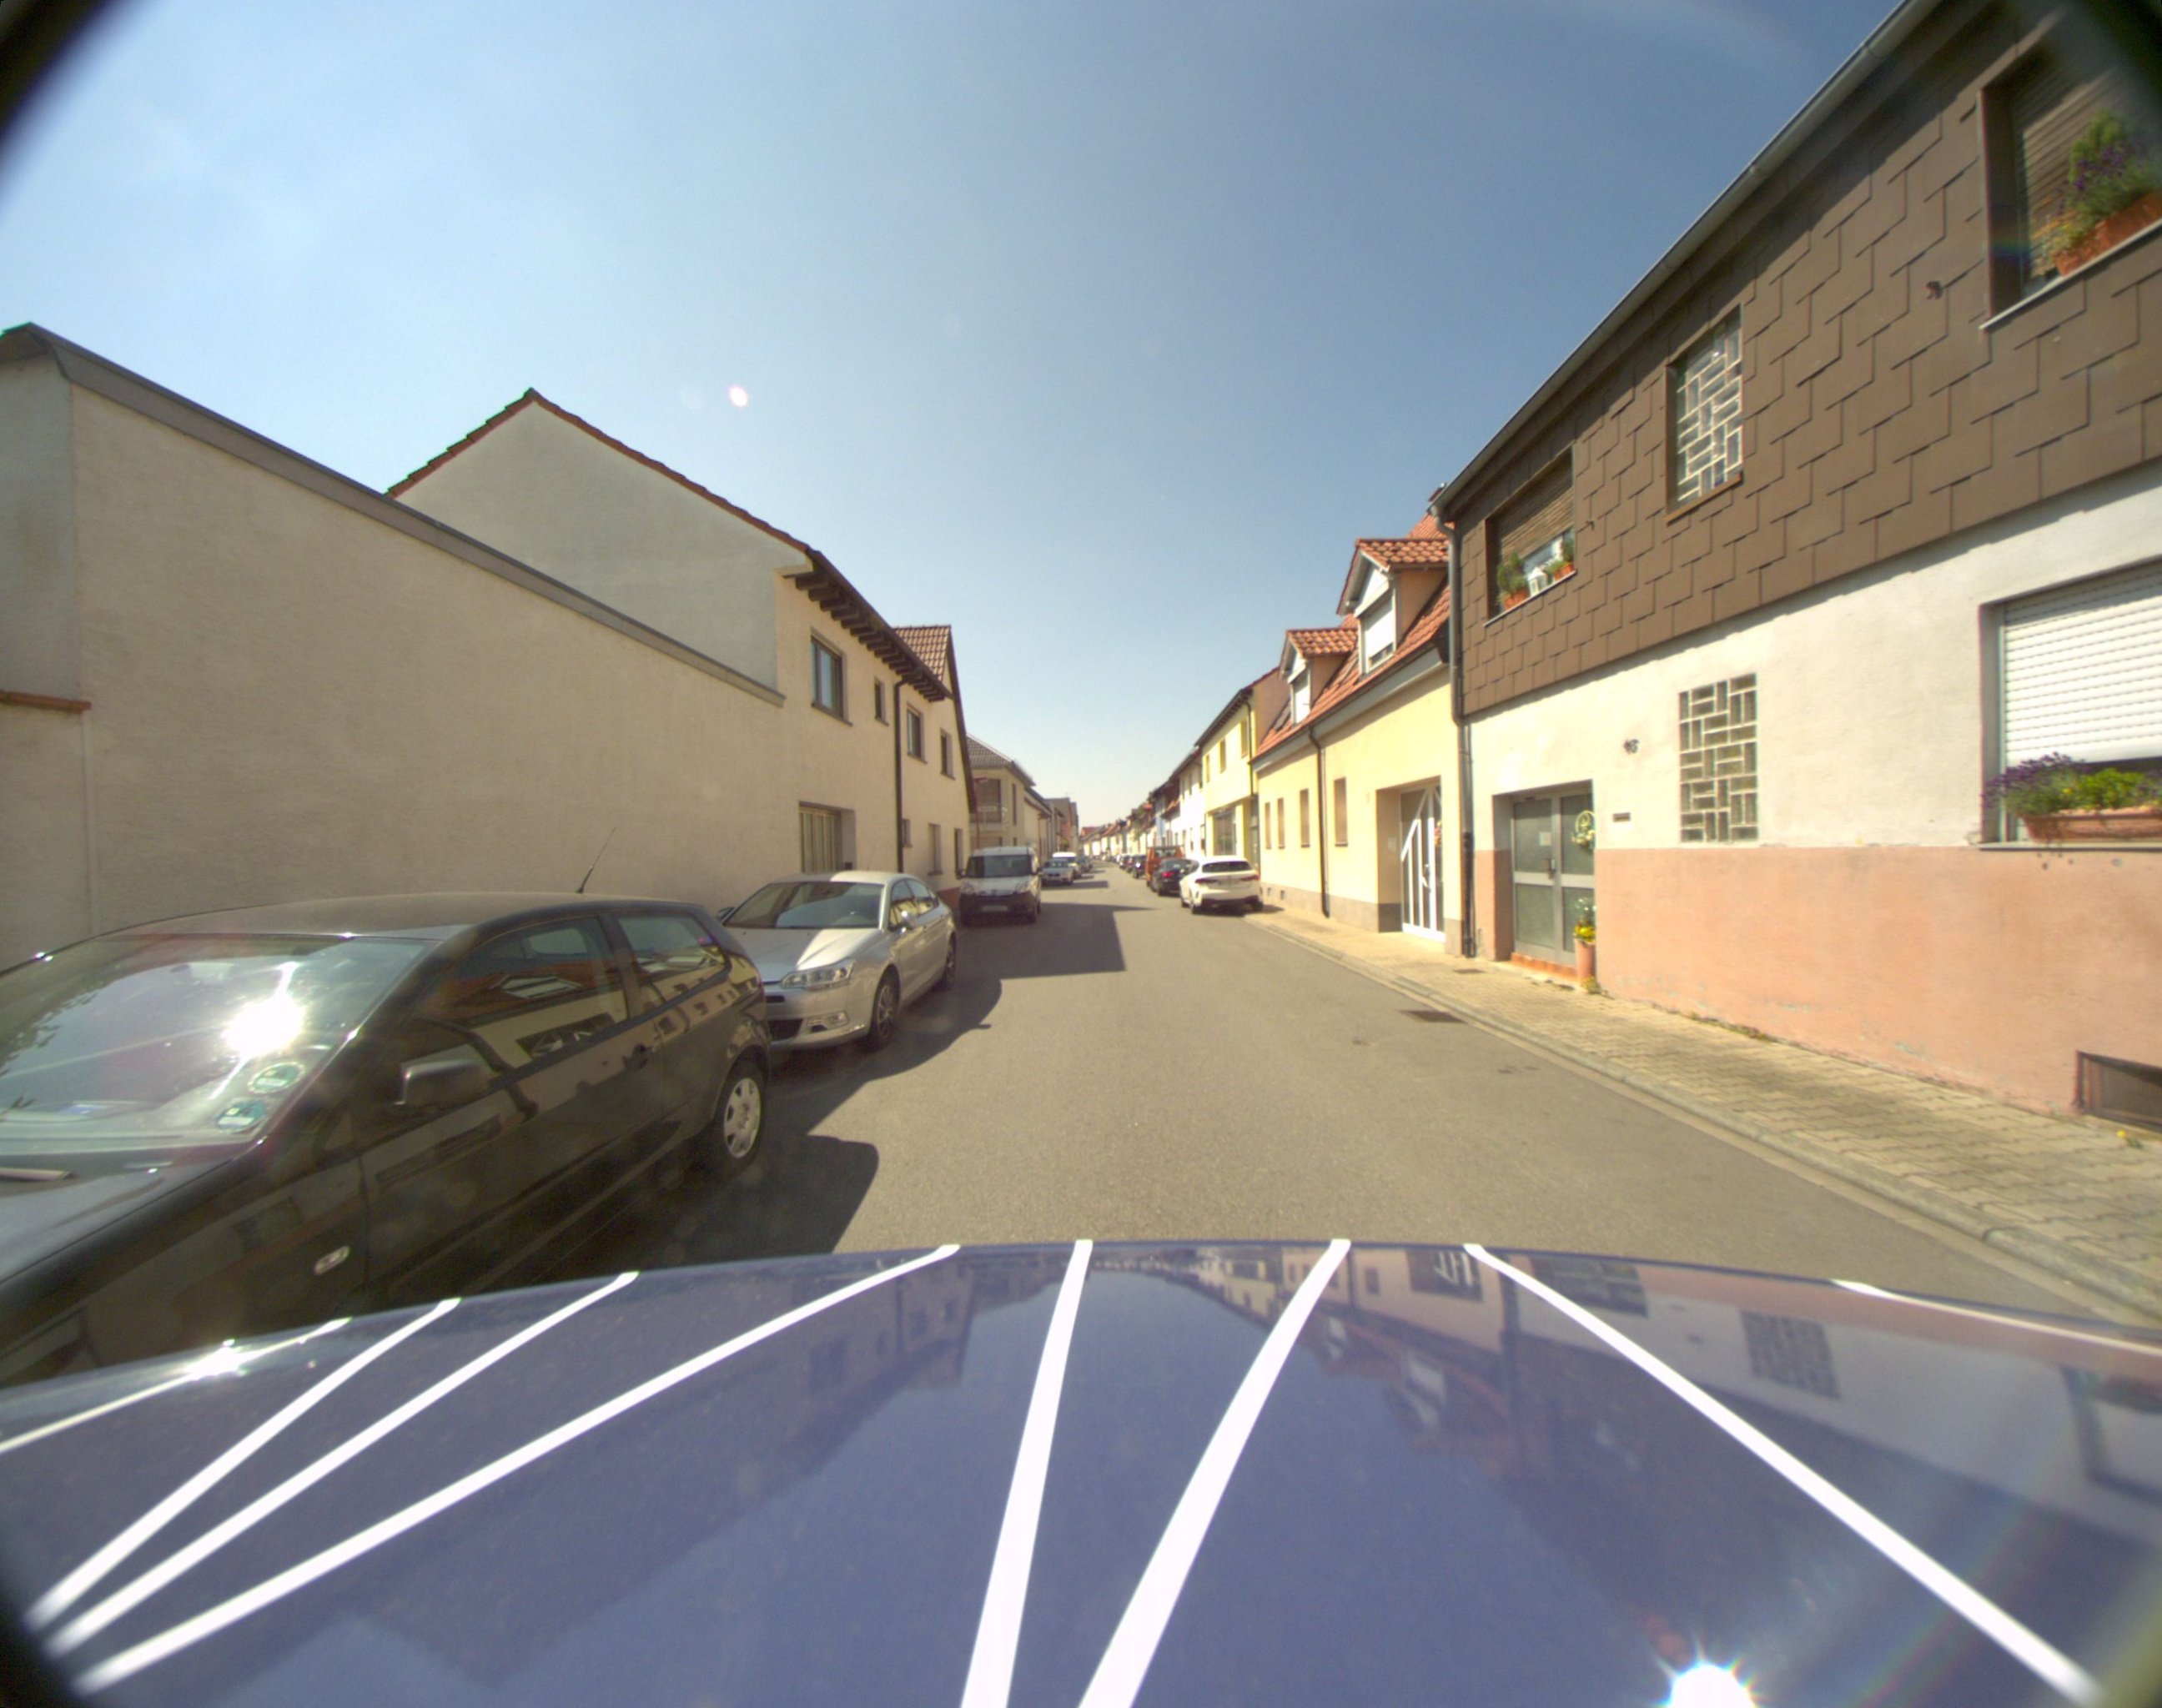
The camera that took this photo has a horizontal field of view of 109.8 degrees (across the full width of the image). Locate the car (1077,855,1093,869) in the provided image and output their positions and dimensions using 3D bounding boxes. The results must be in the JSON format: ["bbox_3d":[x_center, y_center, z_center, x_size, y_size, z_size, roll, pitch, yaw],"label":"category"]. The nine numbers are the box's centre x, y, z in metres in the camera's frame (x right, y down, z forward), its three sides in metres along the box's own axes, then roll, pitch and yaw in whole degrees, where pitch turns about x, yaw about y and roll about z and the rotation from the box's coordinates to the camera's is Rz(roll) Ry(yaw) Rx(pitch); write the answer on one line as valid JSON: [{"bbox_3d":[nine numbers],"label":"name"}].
[{"bbox_3d":[0.414,0.824,78.079,1.521,1.417,3.864,-1,0,1],"label":"car"}]

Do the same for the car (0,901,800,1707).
[{"bbox_3d":[-2.534,1.025,2.443,1.653,1.428,4.134,-1,1,1],"label":"car"}]

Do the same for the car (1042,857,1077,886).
[{"bbox_3d":[-1.126,0.936,41.592,1.638,1.360,3.928,-3,1,2],"label":"car"}]

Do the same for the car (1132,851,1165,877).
[{"bbox_3d":[4.391,0.632,49.958,1.849,1.604,4.000,-1,0,1],"label":"car"}]

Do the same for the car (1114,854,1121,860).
[{"bbox_3d":[7.114,0.594,147.142,1.295,1.177,2.964,-1,0,2],"label":"car"}]

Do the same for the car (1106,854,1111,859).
[{"bbox_3d":[6.816,0.667,186.413,1.295,1.177,2.964,-1,0,2],"label":"car"}]

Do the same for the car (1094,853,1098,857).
[{"bbox_3d":[4.714,0.186,237.660,1.295,1.177,2.964,-1,0,2],"label":"car"}]

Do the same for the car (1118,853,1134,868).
[{"bbox_3d":[4.970,0.730,84.005,1.677,1.565,4.109,-1,0,2],"label":"car"}]

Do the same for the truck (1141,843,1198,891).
[{"bbox_3d":[3.966,0.519,34.787,2.187,2.002,5.080,-1,1,3],"label":"truck"}]

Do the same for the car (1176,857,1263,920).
[{"bbox_3d":[3.658,0.865,20.733,1.786,1.445,4.215,-1,1,3],"label":"car"}]

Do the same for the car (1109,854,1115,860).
[{"bbox_3d":[6.820,0.647,169.693,1.295,1.177,2.964,-1,0,2],"label":"car"}]

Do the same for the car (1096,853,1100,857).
[{"bbox_3d":[5.119,0.236,226.250,1.295,1.177,2.964,-1,0,2],"label":"car"}]

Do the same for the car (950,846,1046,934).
[{"bbox_3d":[-1.934,0.767,19.061,1.814,1.814,4.849,-3,1,0],"label":"car"}]

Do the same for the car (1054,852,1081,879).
[{"bbox_3d":[-0.867,0.741,50.930,1.684,1.719,3.787,-1,0,1],"label":"car"}]

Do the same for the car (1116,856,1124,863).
[{"bbox_3d":[6.816,0.872,131.627,1.295,1.177,2.964,-1,0,2],"label":"car"}]

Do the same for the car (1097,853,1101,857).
[{"bbox_3d":[5.160,0.339,217.191,1.295,1.177,2.964,-1,0,2],"label":"car"}]

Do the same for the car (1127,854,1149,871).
[{"bbox_3d":[5.038,0.732,67.256,1.724,1.493,4.215,-1,0,2],"label":"car"}]

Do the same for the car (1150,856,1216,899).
[{"bbox_3d":[3.818,0.837,29.193,1.926,1.386,4.631,2,1,1],"label":"car"}]

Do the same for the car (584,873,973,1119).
[{"bbox_3d":[-2.423,1.031,7.652,1.795,1.473,4.933,1,1,2],"label":"car"}]

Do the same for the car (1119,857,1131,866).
[{"bbox_3d":[5.280,0.862,90.907,1.295,1.070,2.765,-1,0,2],"label":"car"}]

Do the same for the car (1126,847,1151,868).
[{"bbox_3d":[5.653,0.311,75.385,1.999,2.002,3.998,-1,2,-2],"label":"car"}]
